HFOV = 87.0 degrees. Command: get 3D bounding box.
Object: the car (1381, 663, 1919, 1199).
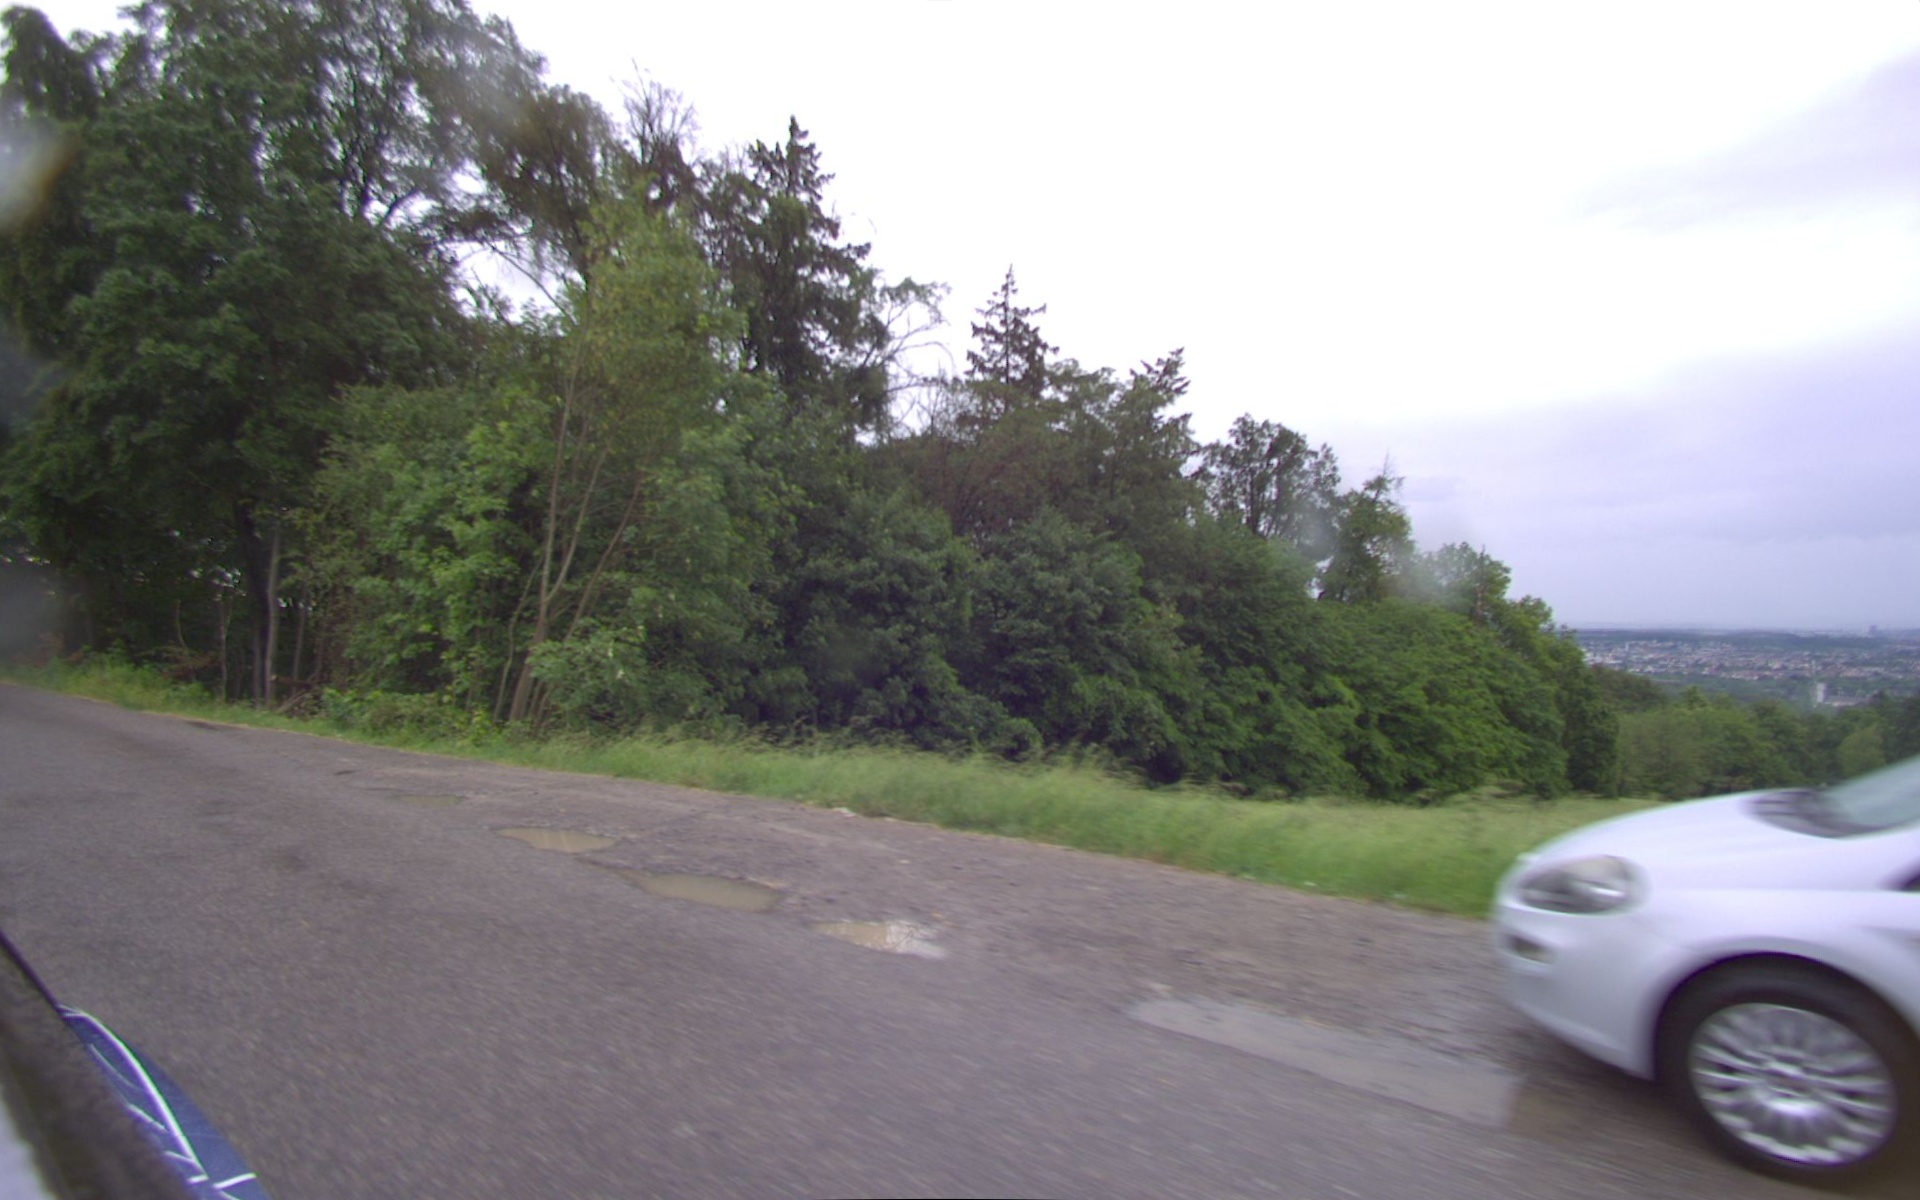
[{"bbox_3d":[3.722,1.005,2.657,4.492,1.608,1.842,-2,-5,41],"label":"car"}]
